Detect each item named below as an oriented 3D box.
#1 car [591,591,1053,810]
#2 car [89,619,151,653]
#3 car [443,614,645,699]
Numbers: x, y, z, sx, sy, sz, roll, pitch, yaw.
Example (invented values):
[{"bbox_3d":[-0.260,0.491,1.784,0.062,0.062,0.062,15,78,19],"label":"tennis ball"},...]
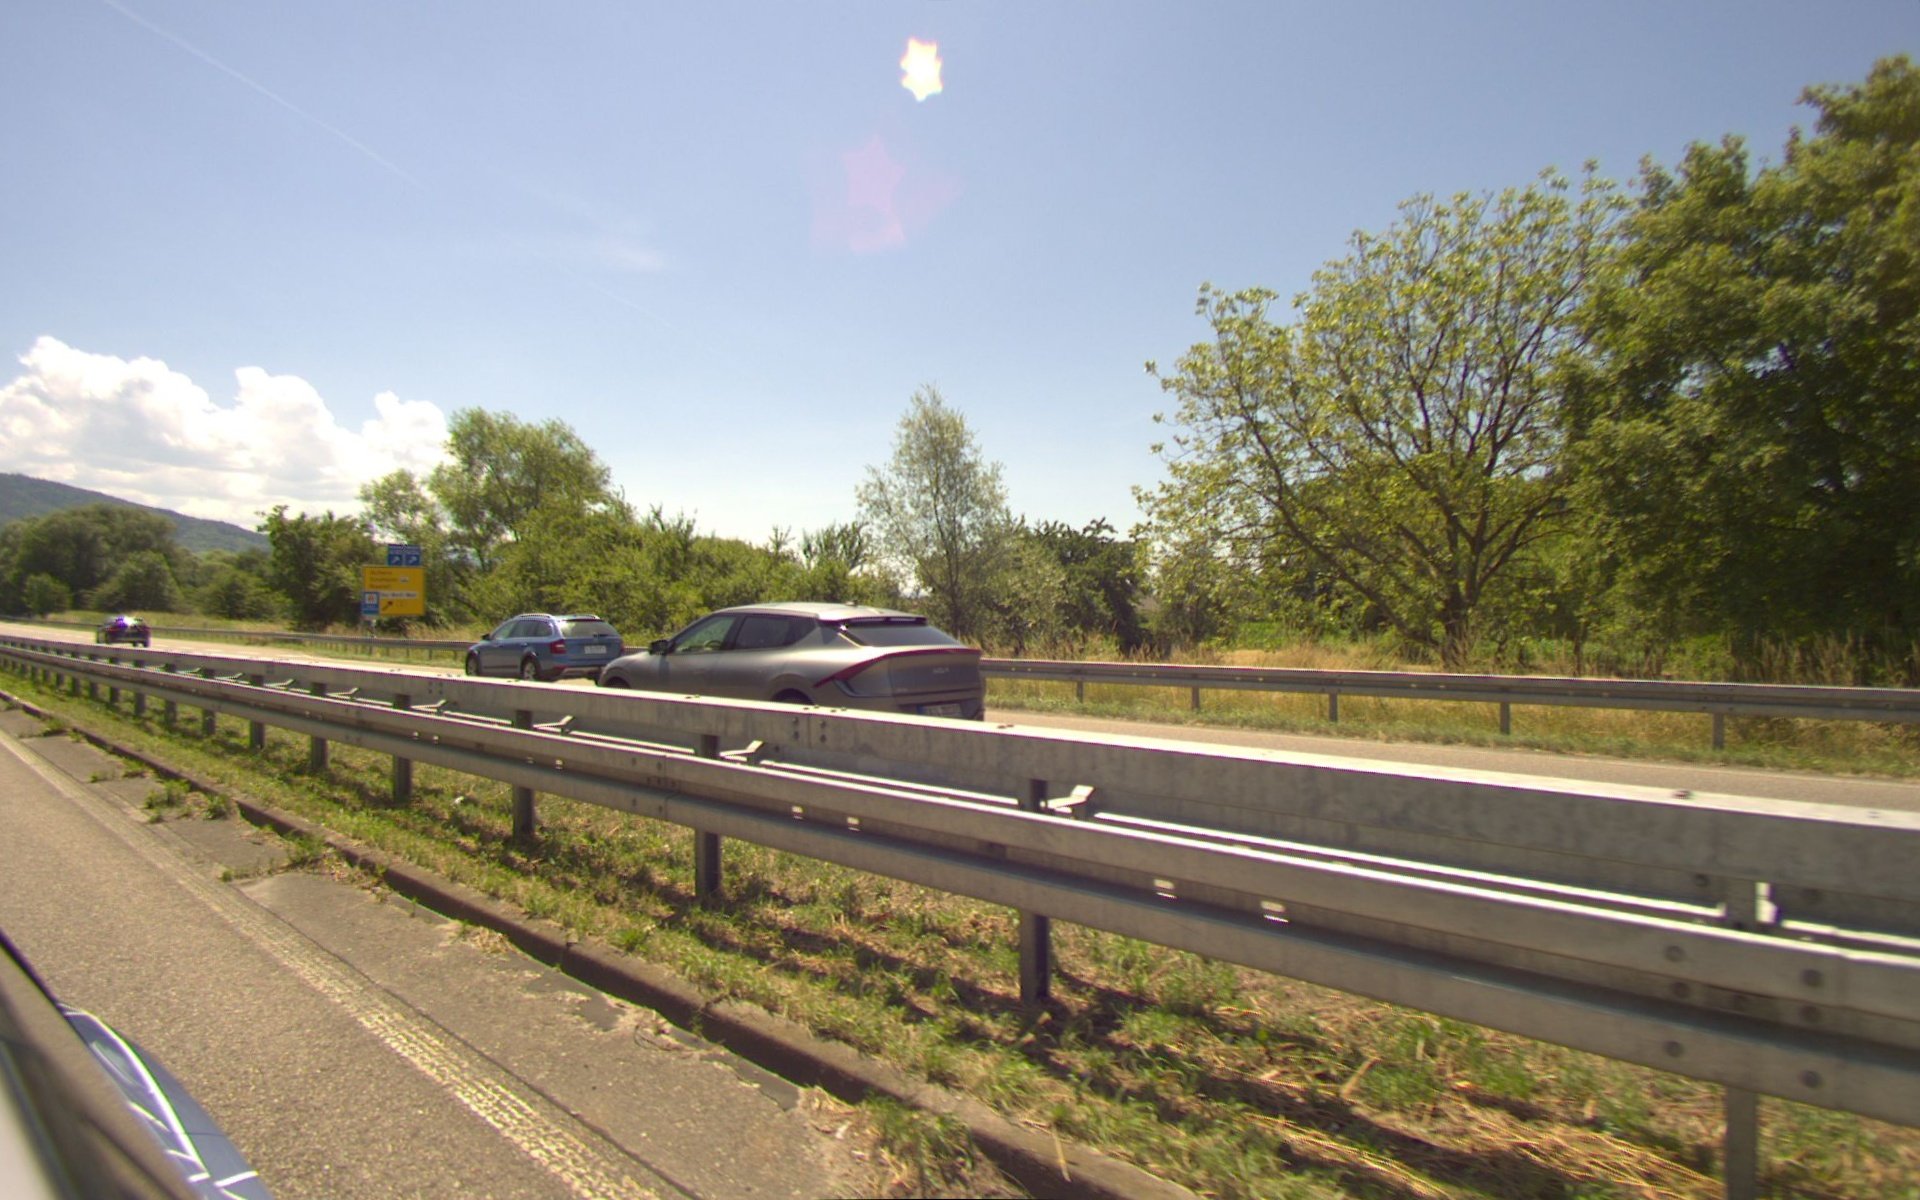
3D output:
[{"bbox_3d":[-1.509,0.813,9.862,4.550,1.644,1.973,-1,-2,41],"label":"car"},{"bbox_3d":[-43.207,1.829,52.025,4.503,1.632,1.761,-1,-2,41],"label":"car"},{"bbox_3d":[-8.714,1.105,20.988,4.924,1.555,1.794,-1,-2,40],"label":"car"}]
